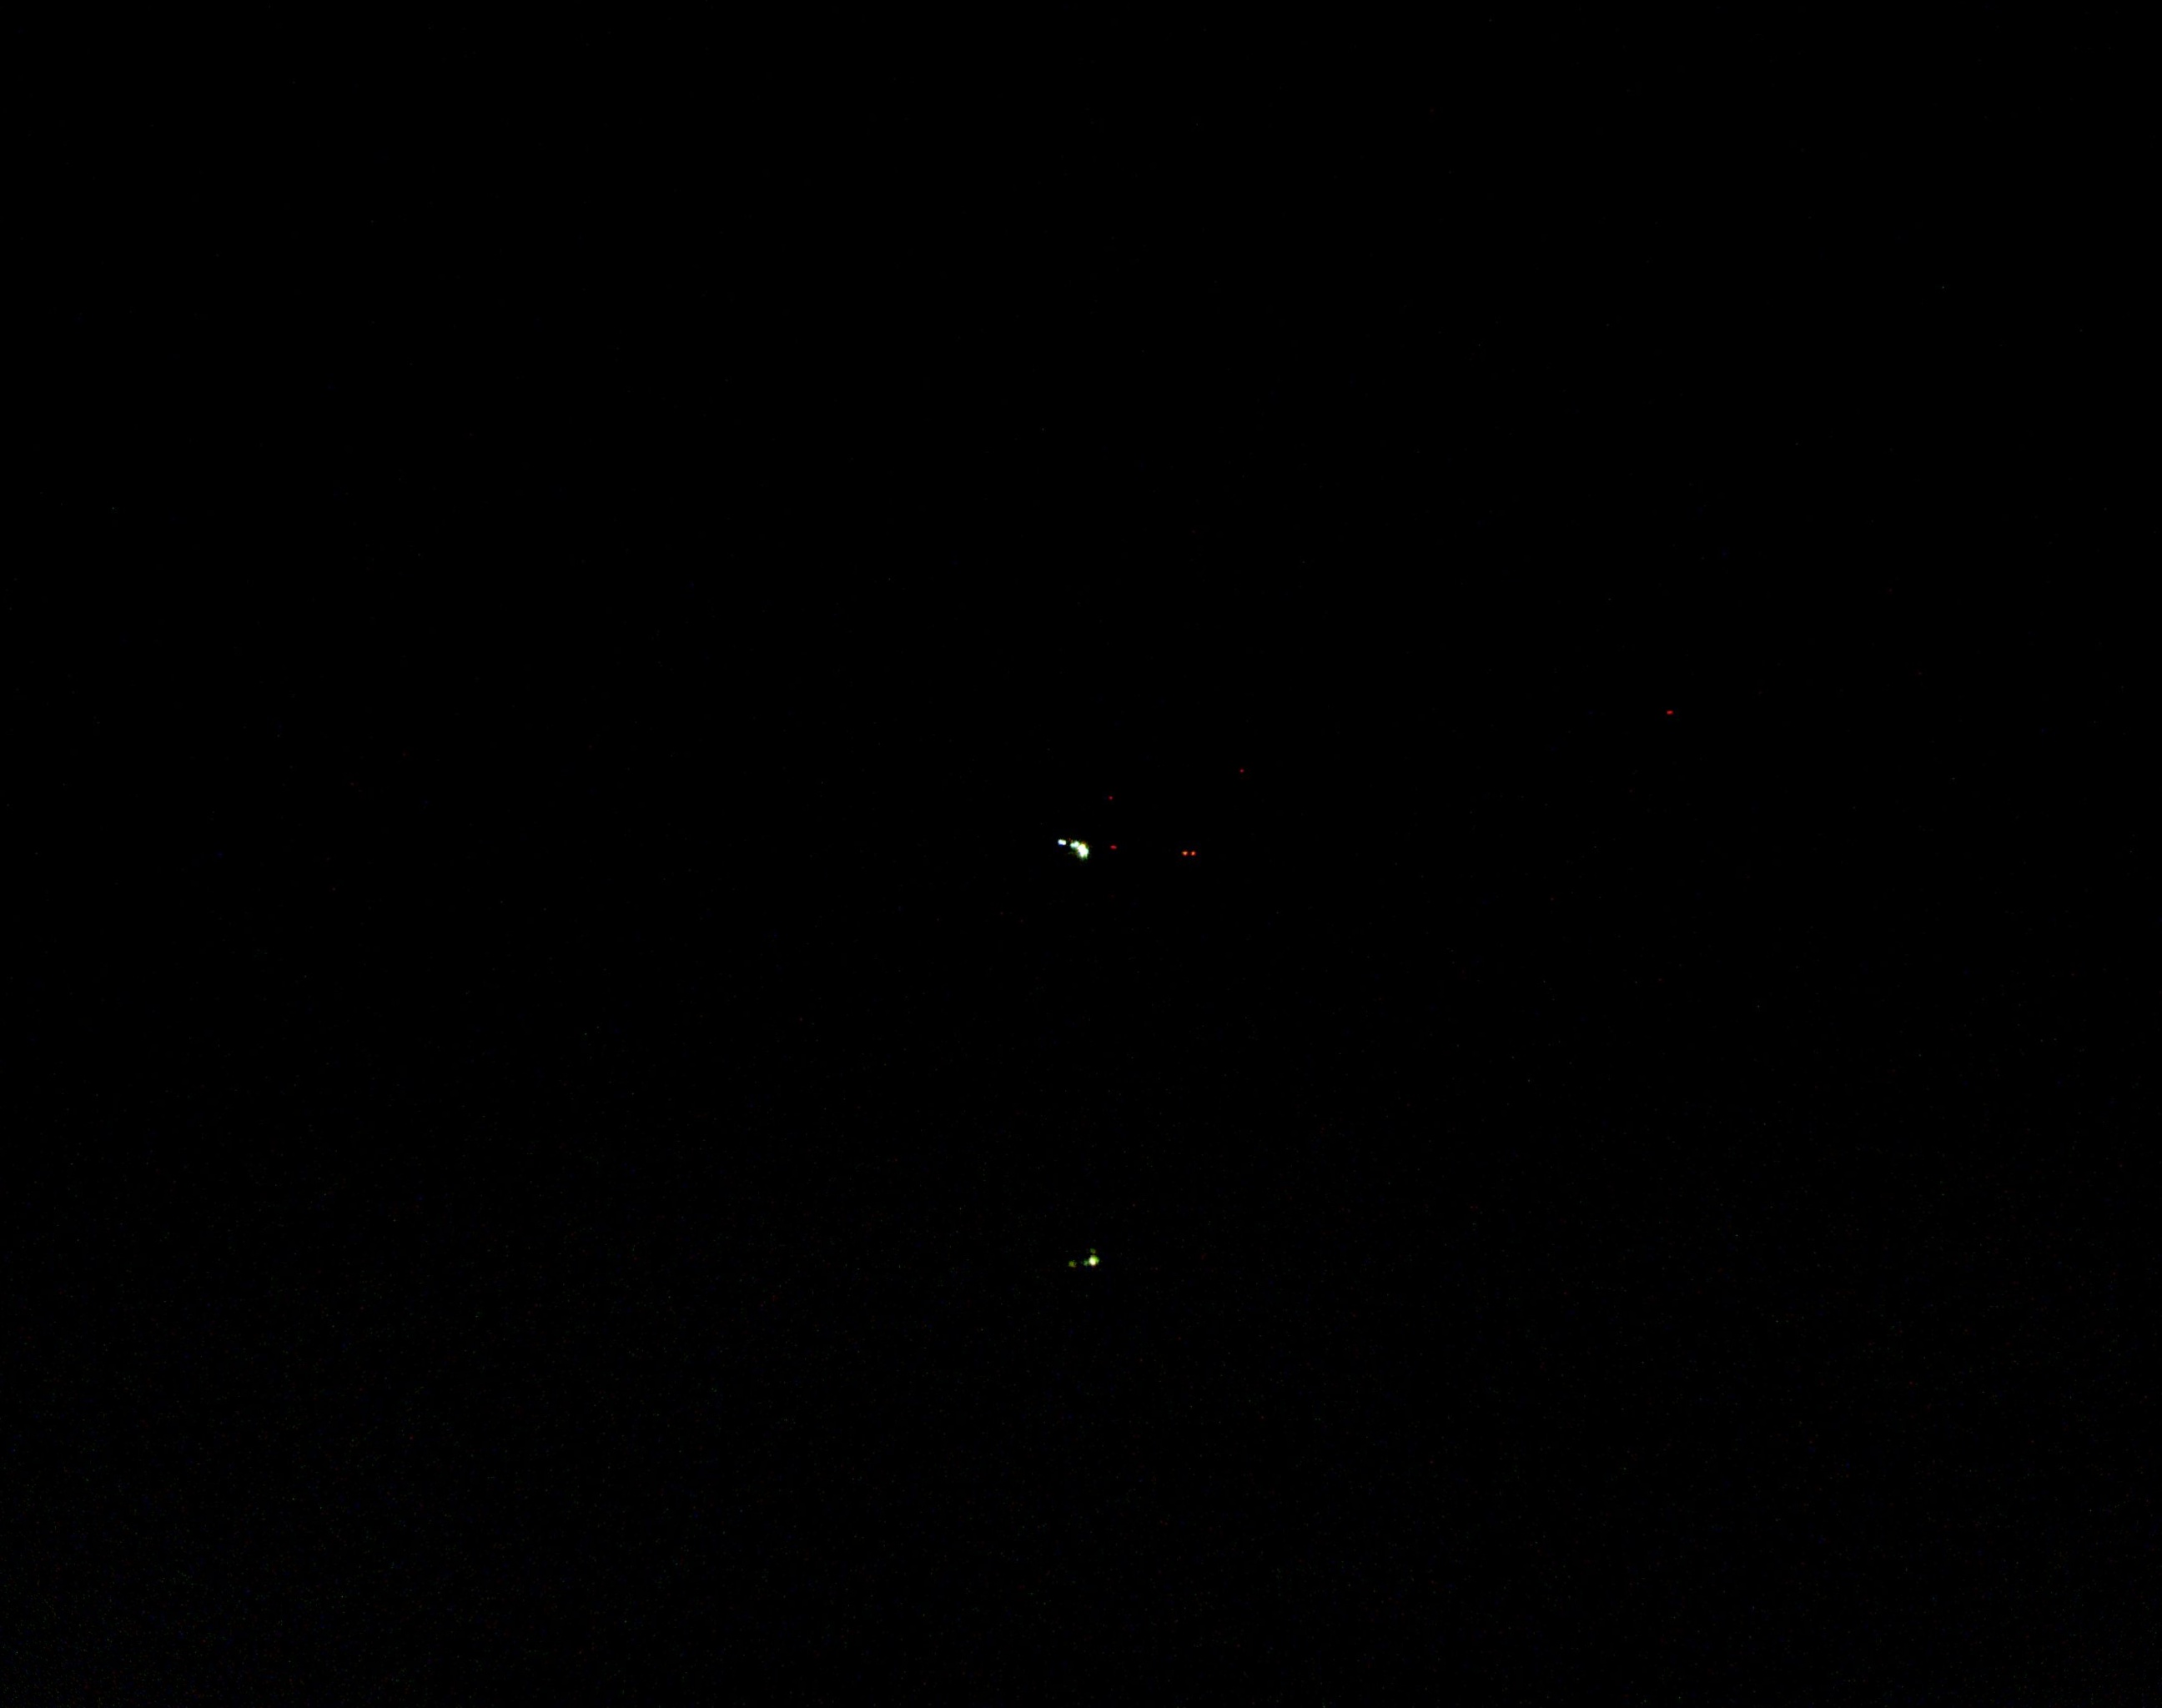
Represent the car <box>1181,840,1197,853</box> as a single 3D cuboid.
[{"bbox_3d":[24.864,-1.776,174.882,2.853,2.921,6.600,-2,1,1],"label":"car"}]
